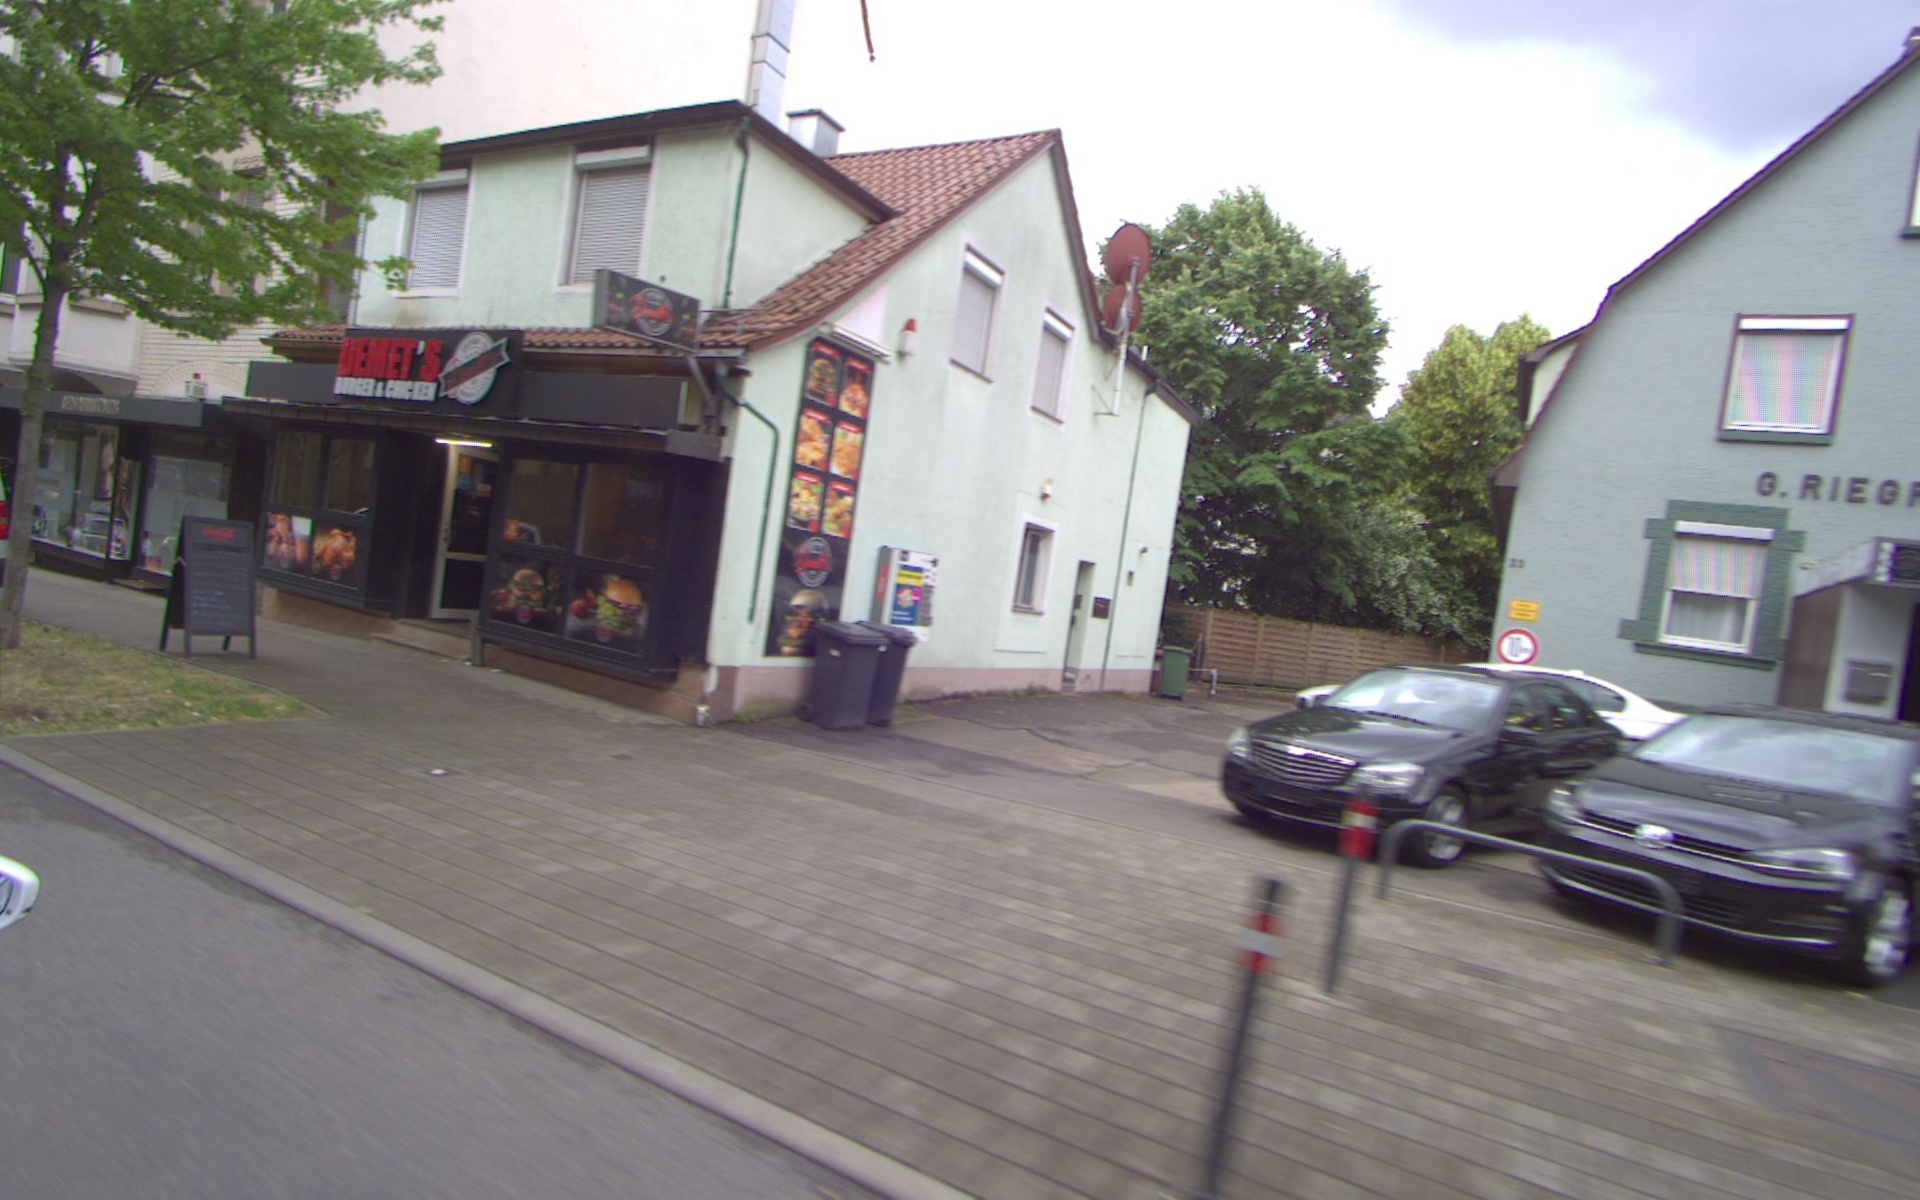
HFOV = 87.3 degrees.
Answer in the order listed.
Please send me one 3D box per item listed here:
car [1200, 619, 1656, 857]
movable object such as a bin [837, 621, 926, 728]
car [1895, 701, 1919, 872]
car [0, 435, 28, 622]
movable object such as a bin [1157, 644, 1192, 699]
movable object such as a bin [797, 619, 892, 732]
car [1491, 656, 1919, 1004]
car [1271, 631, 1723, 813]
[{"bbox_3d":[4.014,1.138,8.415,3.850,1.468,1.688,8,-2,-35],"label":"car"},{"bbox_3d":[-0.844,0.797,10.911,0.672,1.051,0.556,7,1,27],"label":"movable object such as a bin"},{"bbox_3d":[10.774,1.965,8.596,3.556,1.621,1.695,7,0,16],"label":"car"},{"bbox_3d":[-12.522,-1.034,10.923,4.834,1.955,1.909,7,2,27],"label":"car"},{"bbox_3d":[4.401,1.452,20.630,0.556,1.051,0.456,6,1,18],"label":"movable object such as a bin"},{"bbox_3d":[-1.185,0.762,10.351,0.672,1.051,0.556,7,1,27],"label":"movable object such as a bin"},{"bbox_3d":[5.593,1.382,6.684,4.005,1.502,1.784,8,0,-32],"label":"car"},{"bbox_3d":[6.880,1.520,13.392,4.776,1.565,1.982,7,0,5],"label":"car"}]
